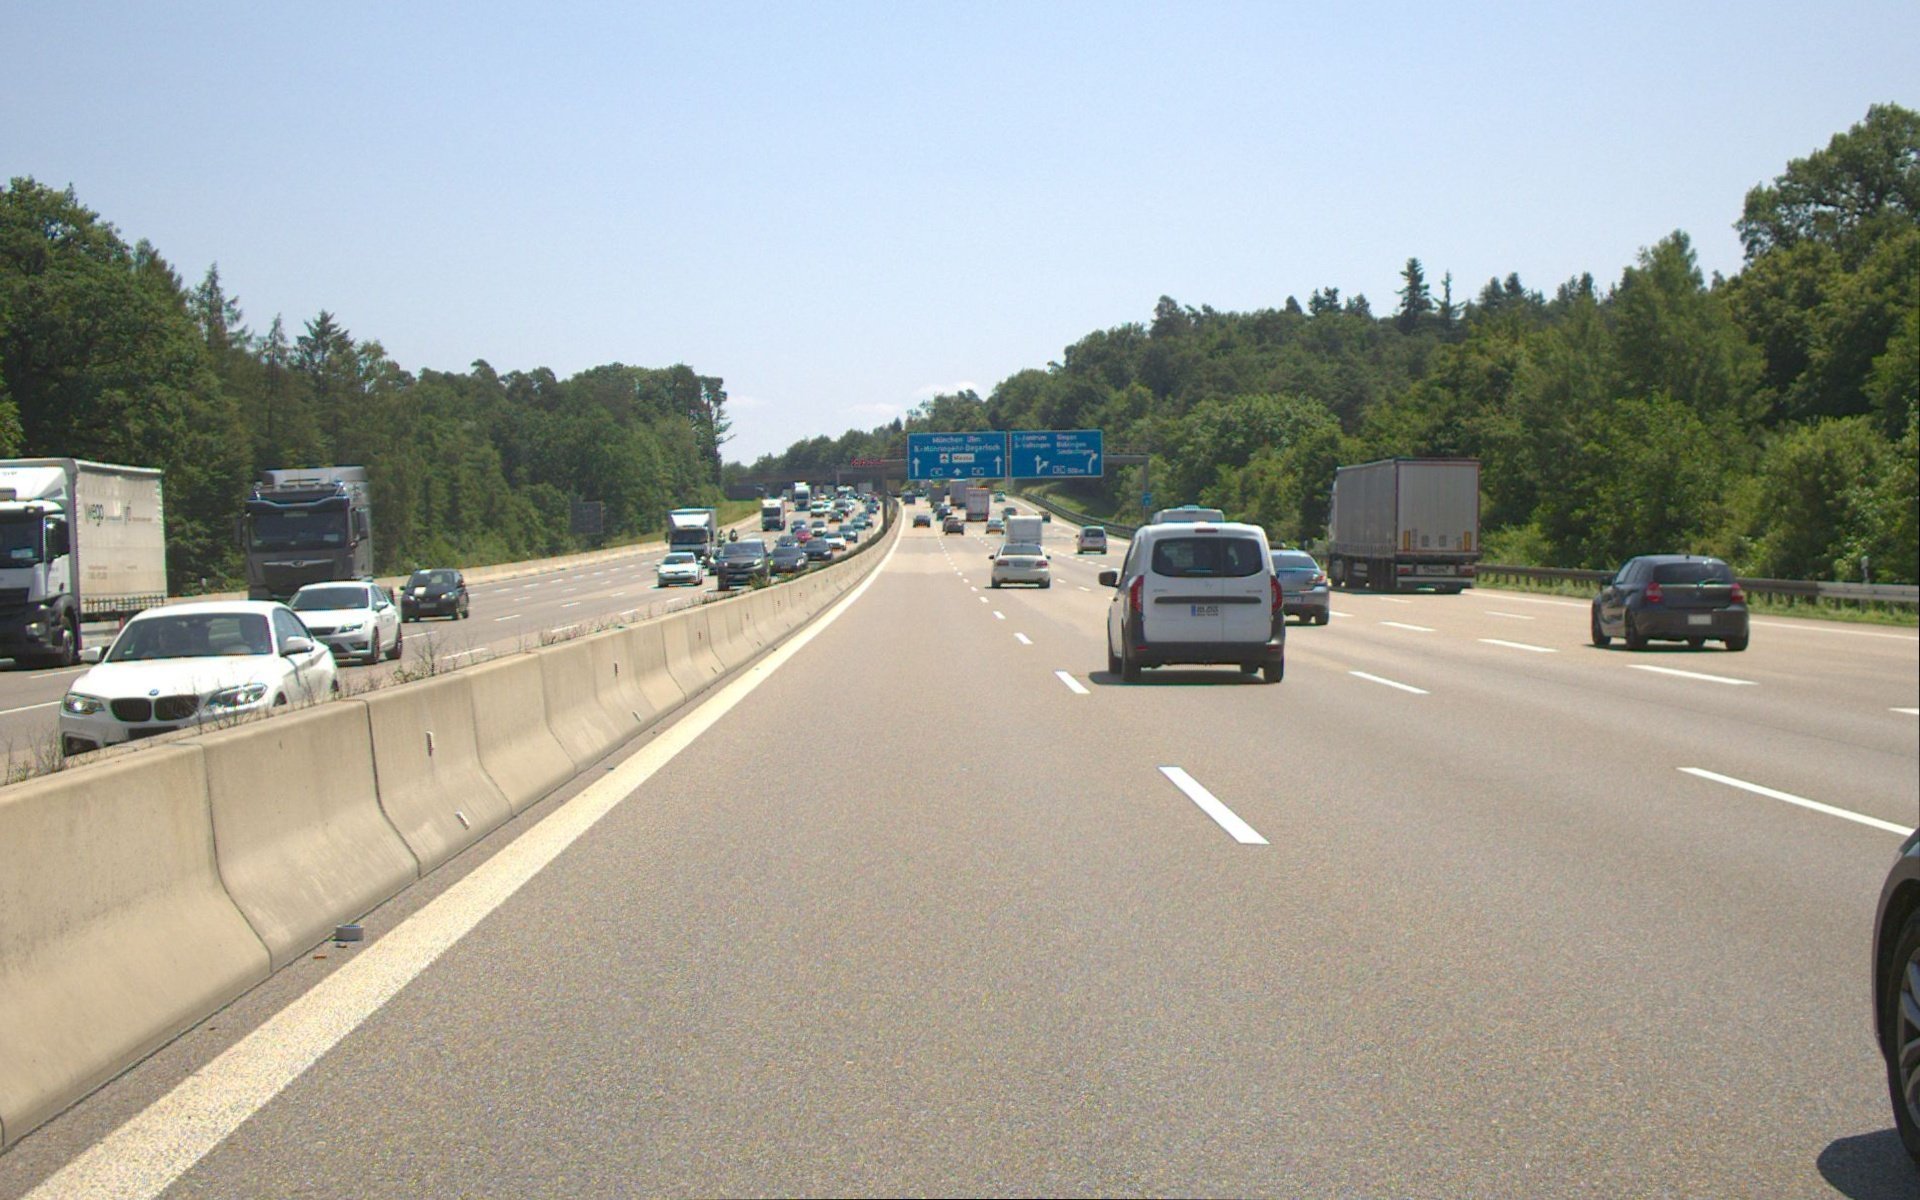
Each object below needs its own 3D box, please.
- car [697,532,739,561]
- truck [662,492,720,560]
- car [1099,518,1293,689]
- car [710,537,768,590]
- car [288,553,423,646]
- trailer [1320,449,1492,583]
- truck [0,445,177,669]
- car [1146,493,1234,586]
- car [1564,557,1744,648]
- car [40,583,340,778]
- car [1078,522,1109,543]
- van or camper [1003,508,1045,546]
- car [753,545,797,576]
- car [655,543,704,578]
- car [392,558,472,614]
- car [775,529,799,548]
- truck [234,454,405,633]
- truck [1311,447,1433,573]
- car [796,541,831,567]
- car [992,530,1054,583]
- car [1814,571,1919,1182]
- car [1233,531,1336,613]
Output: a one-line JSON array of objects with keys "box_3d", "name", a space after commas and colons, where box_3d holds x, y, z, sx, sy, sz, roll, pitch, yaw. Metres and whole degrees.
[{"box_3d": [-12.812, -2.844, 182.044, 1.913, 1.459, 4.588, -1, 0, -1], "name": "car"}, {"box_3d": [-16.553, -4.556, 211.903, 2.858, 3.999, 9.469, -1, 1, -1], "name": "truck"}, {"box_3d": [2.674, -0.001, 39.917, 1.860, 1.819, 4.612, -2, 1, 0], "name": "car"}, {"box_3d": [-8.535, -1.451, 133.110, 1.898, 1.947, 5.657, -2, 1, -1], "name": "car"}, {"box_3d": [-10.516, -0.037, 60.059, 1.722, 1.501, 4.462, -1, 1, -2], "name": "car"}, {"box_3d": [13.920, -2.719, 108.591, 3.287, 3.917, 13.892, 1, 2, -1], "name": "trailer"}, {"box_3d": [-18.526, -0.858, 70.058, 2.835, 4.183, 10.597, -2, 1, -1], "name": "truck"}, {"box_3d": [6.727, -1.817, 100.965, 2.143, 2.643, 5.710, 0, 2, 0], "name": "car"}, {"box_3d": [10.335, 0.009, 51.489, 1.670, 1.269, 4.290, 1, 1, -2], "name": "car"}, {"box_3d": [-6.458, 0.625, 29.244, 1.747, 1.452, 4.157, -1, 1, -2], "name": "car"}, {"box_3d": [8.689, -4.402, 224.137, 1.835, 1.333, 3.643, -2, 1, -1], "name": "car"}, {"box_3d": [4.406, -5.089, 238.443, 2.645, 2.530, 6.502, -1, 1, -1], "name": "van or camper"}, {"box_3d": [-9.012, -1.913, 167.894, 1.913, 1.459, 4.588, -1, 0, -1], "name": "car"}, {"box_3d": [-12.214, -1.735, 150.039, 1.760, 1.459, 4.840, -1, 1, -1], "name": "car"}, {"box_3d": [-15.294, -0.413, 99.721, 1.753, 1.481, 3.815, -3, 1, -1], "name": "car"}, {"box_3d": [-13.011, -4.653, 259.429, 1.702, 1.422, 4.614, -2, 1, -2], "name": "car"}, {"box_3d": [-14.631, -1.302, 78.989, 2.577, 3.828, 7.018, -2, 1, -1], "name": "truck"}, {"box_3d": [13.764, -3.027, 115.309, 3.254, 4.092, 5.988, 0, 2, -1], "name": "truck"}, {"box_3d": [-8.769, -2.738, 205.680, 1.913, 1.459, 4.364, -1, 0, -1], "name": "car"}, {"box_3d": [2.052, -1.435, 113.027, 1.843, 1.623, 4.553, -2, 1, 0], "name": "car"}, {"box_3d": [3.142, 0.687, 6.677, 1.729, 1.442, 4.961, -1, 1, 0], "name": "car"}, {"box_3d": [6.243, -0.519, 66.430, 1.503, 1.495, 3.650, -2, 0, -2], "name": "car"}]
